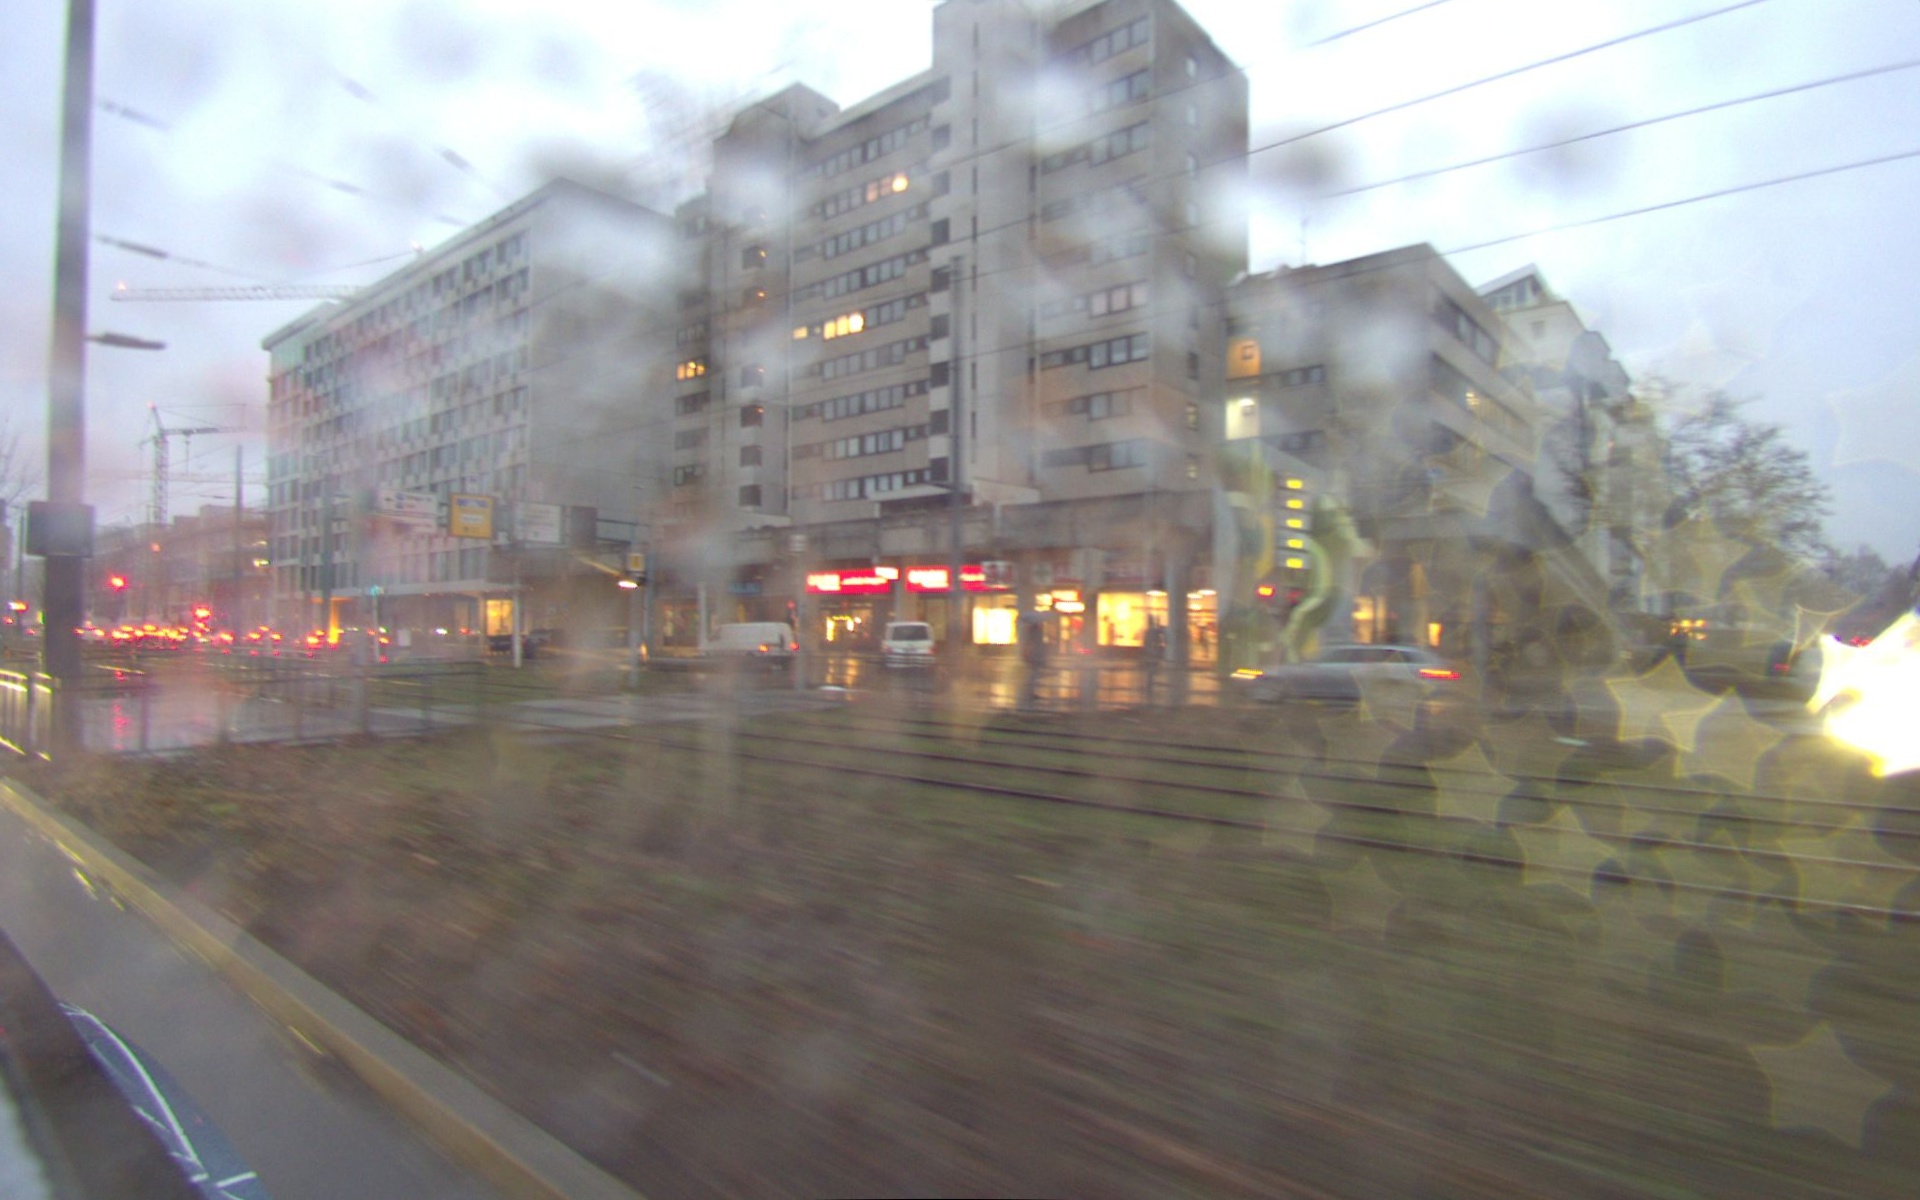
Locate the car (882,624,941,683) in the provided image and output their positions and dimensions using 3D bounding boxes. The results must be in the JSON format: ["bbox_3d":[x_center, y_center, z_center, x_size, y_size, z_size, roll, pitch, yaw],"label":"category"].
[{"bbox_3d":[-1.964,2.030,39.504,1.969,2.029,4.580,-1,0,-7],"label":"car"}]

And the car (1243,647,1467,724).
[{"bbox_3d":[9.218,1.918,23.711,4.683,1.557,1.980,-1,-2,29],"label":"car"}]

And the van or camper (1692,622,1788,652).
[{"bbox_3d":[59.162,2.792,76.840,5.631,2.260,1.972,-2,-2,42],"label":"van or camper"}]

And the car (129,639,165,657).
[{"bbox_3d":[-68.569,4.008,85.331,3.869,1.460,1.576,-1,-2,40],"label":"car"}]

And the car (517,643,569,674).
[{"bbox_3d":[-24.036,3.344,58.456,1.656,1.630,3.781,0,-1,-4],"label":"car"}]

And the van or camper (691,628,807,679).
[{"bbox_3d":[-9.345,2.294,44.488,5.651,2.113,1.973,-2,-2,41],"label":"van or camper"}]

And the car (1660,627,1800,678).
[{"bbox_3d":[25.668,1.721,33.911,3.631,1.613,1.603,-1,-2,35],"label":"car"}]

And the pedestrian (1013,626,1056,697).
[{"bbox_3d":[1.609,1.306,21.839,0.629,1.501,0.784,-1,-2,33],"label":"pedestrian"}]

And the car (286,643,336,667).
[{"bbox_3d":[-43.219,3.635,67.365,3.887,1.523,1.732,-1,-2,40],"label":"car"}]

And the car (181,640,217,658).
[{"bbox_3d":[-64.122,4.104,85.248,3.869,1.460,1.576,-1,-2,40],"label":"car"}]

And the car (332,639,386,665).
[{"bbox_3d":[-36.202,3.126,60.948,3.764,1.460,1.656,-1,-2,40],"label":"car"}]

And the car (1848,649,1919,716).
[{"bbox_3d":[25.957,2.230,28.062,1.683,1.523,3.950,-1,0,37],"label":"car"}]

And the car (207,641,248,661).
[{"bbox_3d":[-57.563,3.975,79.518,3.869,1.460,1.732,-1,-2,40],"label":"car"}]

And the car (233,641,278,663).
[{"bbox_3d":[-51.736,3.808,74.311,3.869,1.460,1.732,-1,-2,40],"label":"car"}]
